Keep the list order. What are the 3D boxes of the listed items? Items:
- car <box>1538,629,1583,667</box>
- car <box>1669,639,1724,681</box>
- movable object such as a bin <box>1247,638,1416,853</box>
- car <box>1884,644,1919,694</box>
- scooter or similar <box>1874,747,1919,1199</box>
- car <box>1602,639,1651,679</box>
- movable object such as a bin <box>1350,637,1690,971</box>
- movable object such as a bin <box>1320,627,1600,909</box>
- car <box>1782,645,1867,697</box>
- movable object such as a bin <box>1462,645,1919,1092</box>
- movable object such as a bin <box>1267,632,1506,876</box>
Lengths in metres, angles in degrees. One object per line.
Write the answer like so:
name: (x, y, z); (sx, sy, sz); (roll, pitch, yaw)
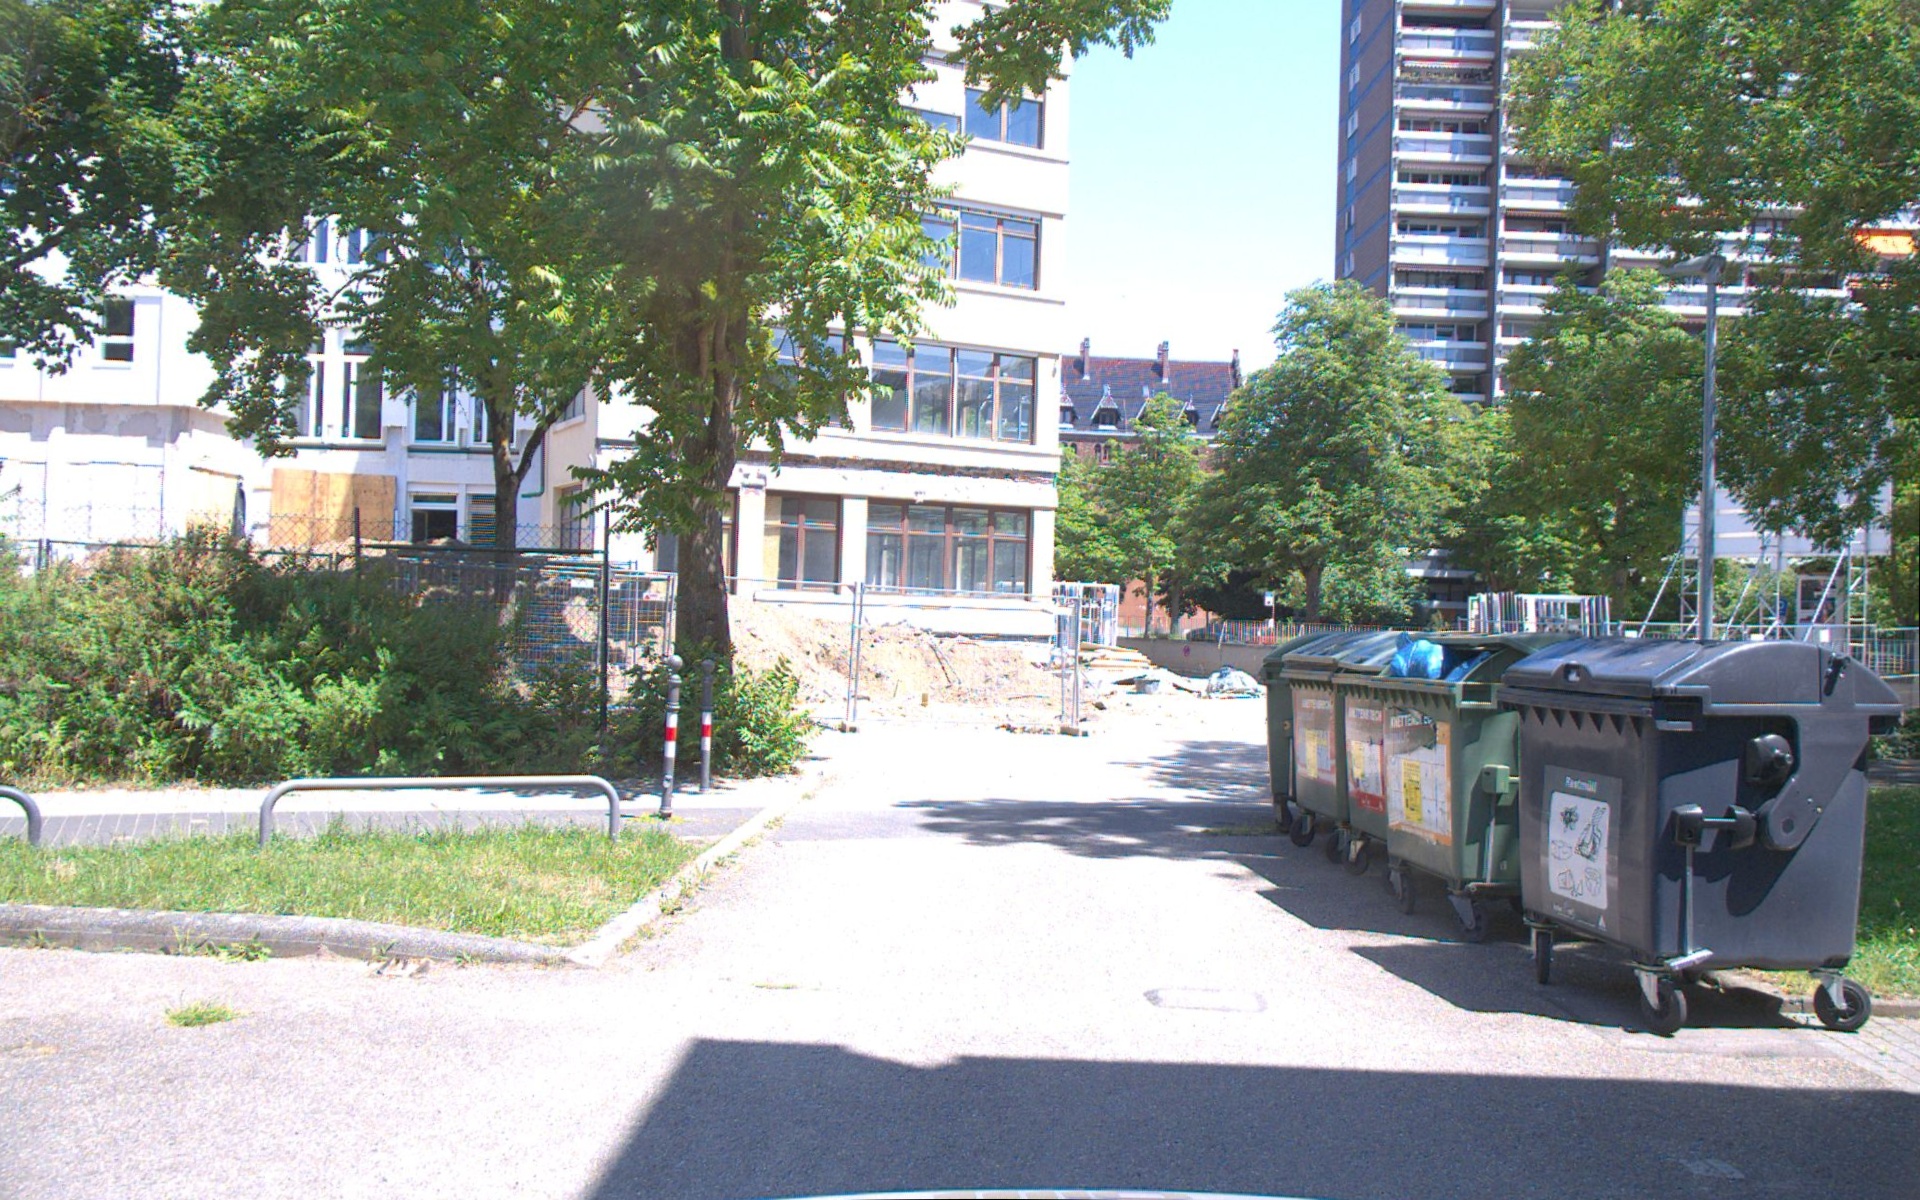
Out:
car: (24.187, 1.916, 66.571); (1.599, 1.411, 3.678); (2, 0, 21)
car: (26.845, 2.164, 60.364); (1.599, 1.411, 3.678); (2, 0, 21)
movable object such as a bin: (2.843, 1.066, 12.712); (1.154, 1.495, 1.334); (2, -1, 12)
car: (30.348, 2.171, 51.765); (1.598, 1.489, 3.680); (2, 0, 15)
scooter or similar: (2.804, 1.006, 3.837); (0.455, 1.194, 1.355); (2, 0, -7)
car: (25.557, 2.244, 63.491); (1.599, 1.411, 3.678); (2, 0, 21)
movable object such as a bin: (2.768, 0.967, 8.348); (1.156, 1.495, 1.310); (3, -1, -5)
movable object such as a bin: (2.891, 0.932, 9.732); (1.155, 1.495, 1.311); (2, -1, -3)
car: (27.595, 2.252, 52.868); (1.598, 1.489, 3.680); (2, 0, 15)
movable object such as a bin: (2.886, 0.986, 6.611); (1.133, 1.532, 1.460); (3, -1, -8)
movable object such as a bin: (2.839, 0.994, 11.173); (1.156, 1.495, 1.310); (3, -1, -5)
